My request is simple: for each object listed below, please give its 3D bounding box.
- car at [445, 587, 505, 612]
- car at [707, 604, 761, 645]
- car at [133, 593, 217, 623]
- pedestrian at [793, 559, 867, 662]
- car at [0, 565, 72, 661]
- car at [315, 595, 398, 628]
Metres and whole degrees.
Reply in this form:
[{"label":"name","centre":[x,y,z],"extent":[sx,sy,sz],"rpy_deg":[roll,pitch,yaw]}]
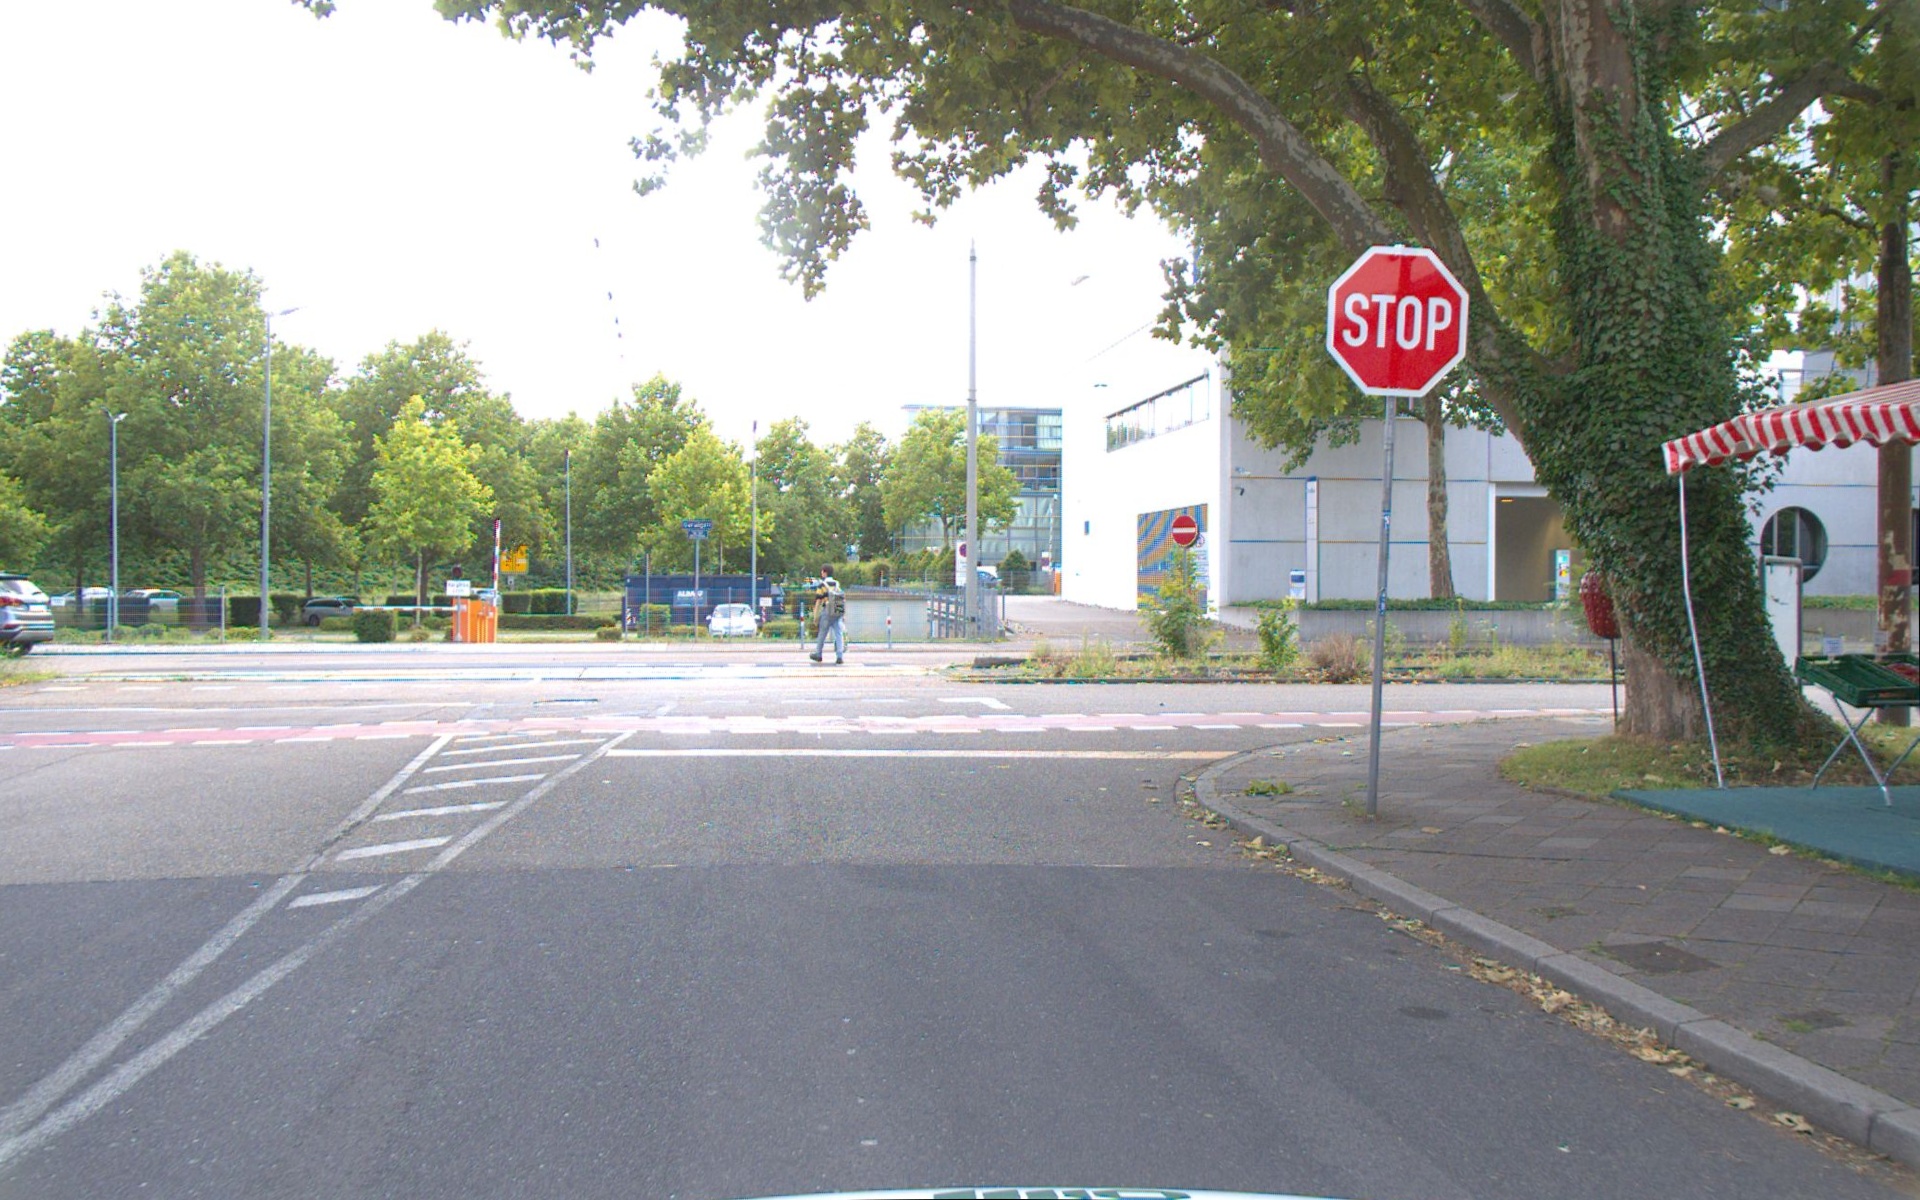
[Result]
[{"label":"car","centre":[-35.497,-0.056,121.146],"extent":[1.876,1.751,4.298],"rpy_deg":[0,0,24]},{"label":"car","centre":[-8.273,0.863,60.782],"extent":[1.894,1.427,4.074],"rpy_deg":[0,0,-7]},{"label":"car","centre":[-46.782,0.464,98.647],"extent":[1.876,1.751,4.298],"rpy_deg":[0,0,24]},{"label":"pedestrian","centre":[-2.420,0.186,30.717],"extent":[0.988,1.881,1.219],"rpy_deg":[0,0,-26]},{"label":"car","centre":[-20.232,0.223,32.765],"extent":[4.175,1.847,1.968],"rpy_deg":[0,1,-1]},{"label":"car","centre":[-32.317,0.603,88.574],"extent":[3.906,1.731,1.909],"rpy_deg":[0,0,24]}]
